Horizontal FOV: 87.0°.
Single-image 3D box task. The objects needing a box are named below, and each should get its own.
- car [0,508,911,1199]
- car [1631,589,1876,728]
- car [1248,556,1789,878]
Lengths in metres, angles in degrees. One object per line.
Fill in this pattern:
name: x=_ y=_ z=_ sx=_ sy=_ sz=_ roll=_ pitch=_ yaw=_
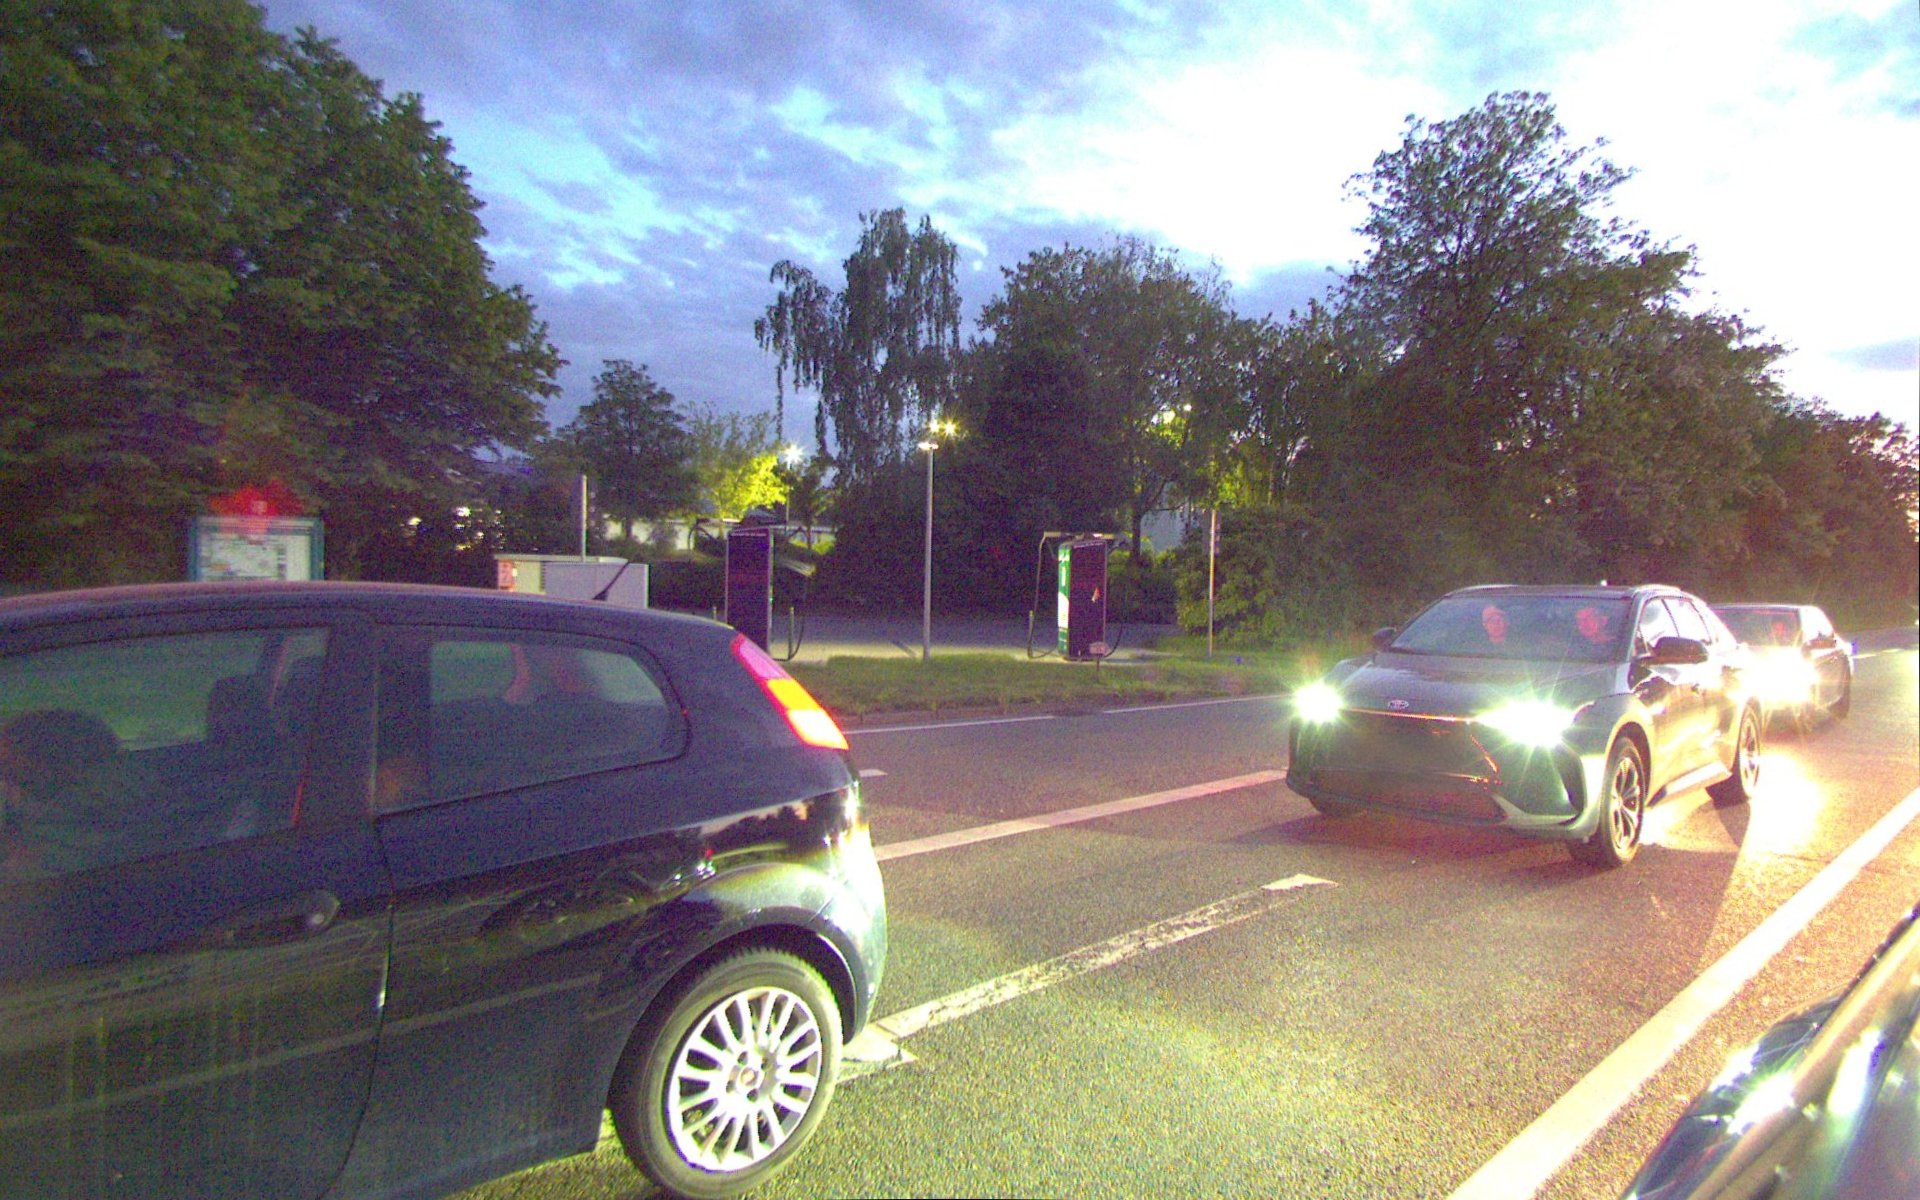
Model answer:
car: x=-2.052 y=0.625 z=2.168 sx=3.649 sy=1.556 sz=1.662 roll=-1 pitch=1 yaw=-40
car: x=9.799 y=0.627 z=12.408 sx=3.688 sy=1.431 sz=1.621 roll=1 pitch=1 yaw=-40
car: x=4.057 y=0.602 z=7.060 sx=4.223 sy=1.577 sz=1.901 roll=1 pitch=-1 yaw=-40
